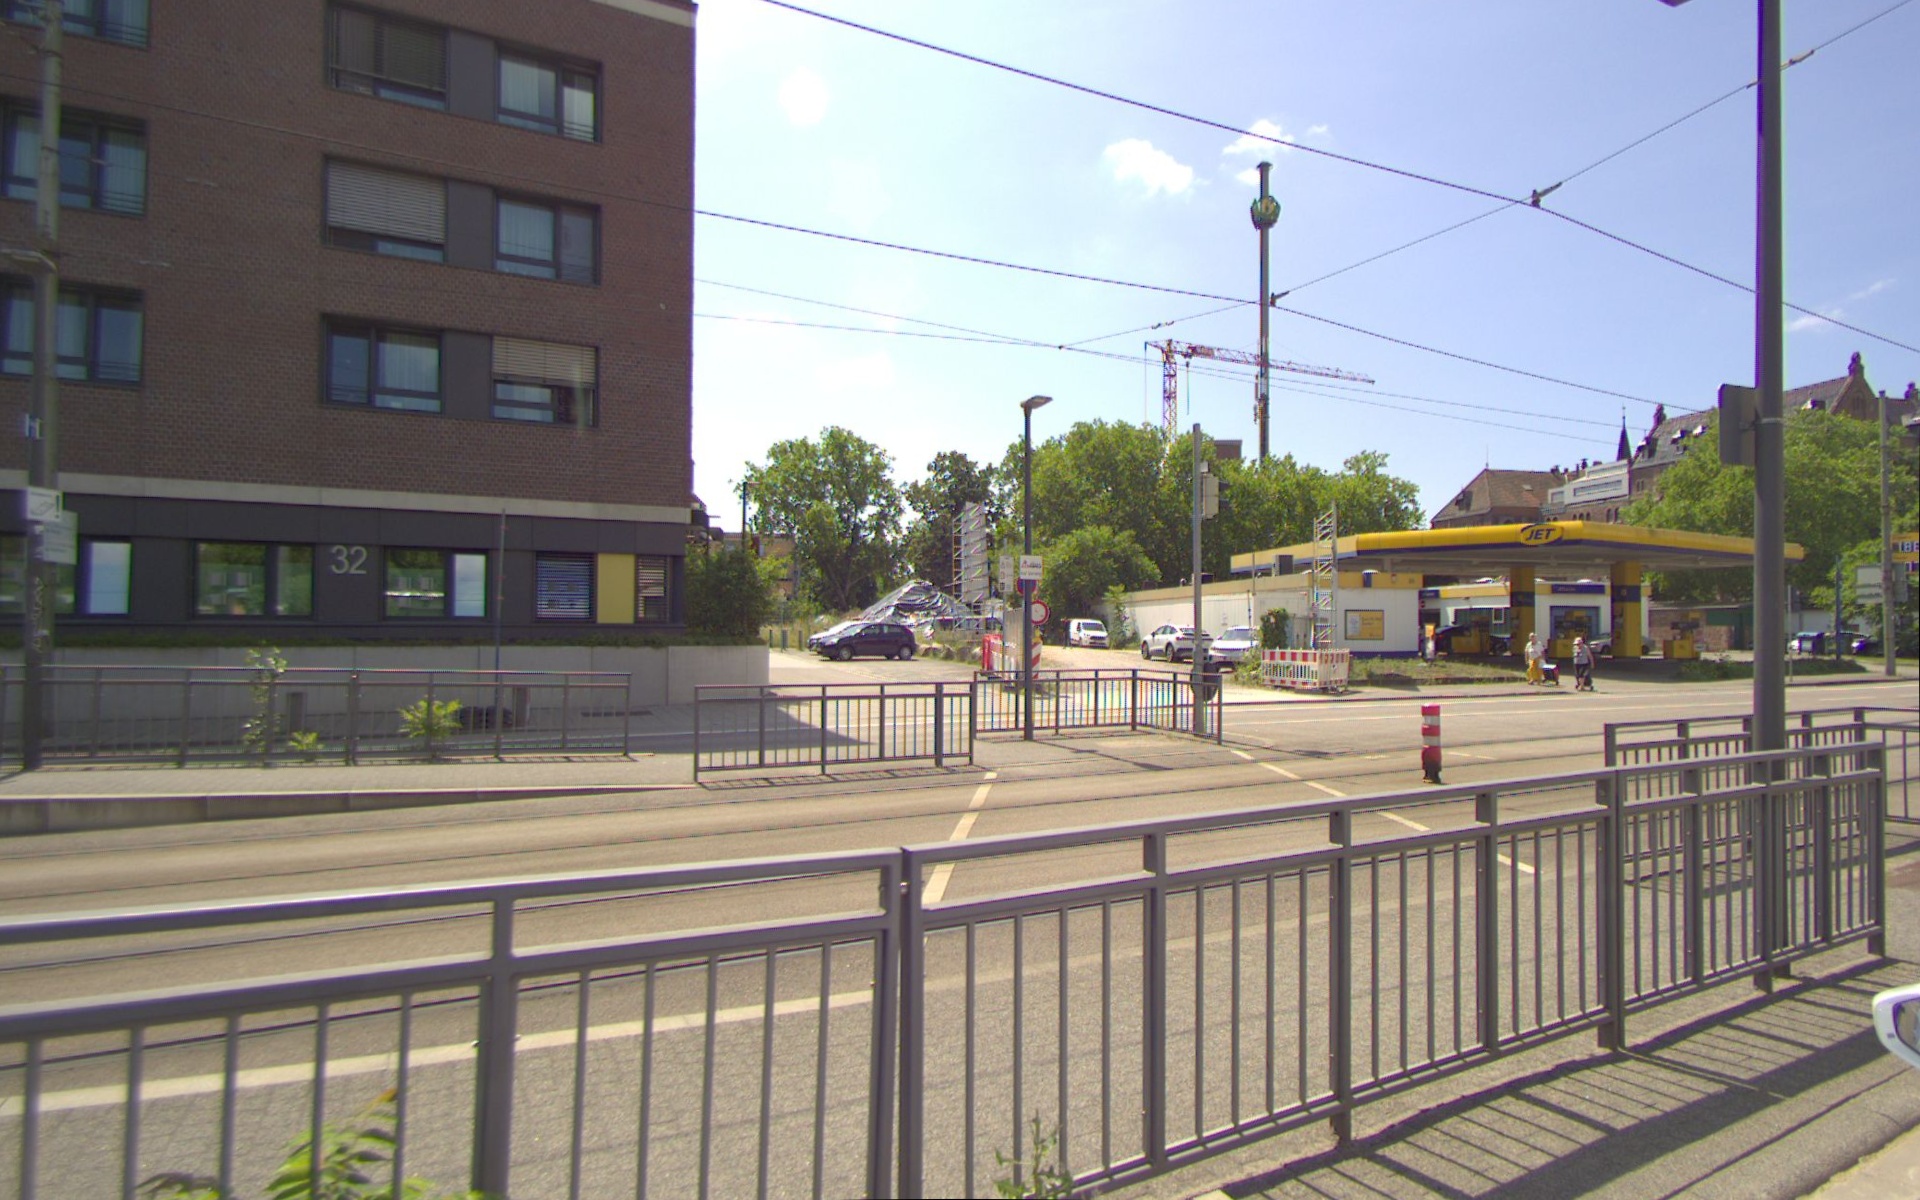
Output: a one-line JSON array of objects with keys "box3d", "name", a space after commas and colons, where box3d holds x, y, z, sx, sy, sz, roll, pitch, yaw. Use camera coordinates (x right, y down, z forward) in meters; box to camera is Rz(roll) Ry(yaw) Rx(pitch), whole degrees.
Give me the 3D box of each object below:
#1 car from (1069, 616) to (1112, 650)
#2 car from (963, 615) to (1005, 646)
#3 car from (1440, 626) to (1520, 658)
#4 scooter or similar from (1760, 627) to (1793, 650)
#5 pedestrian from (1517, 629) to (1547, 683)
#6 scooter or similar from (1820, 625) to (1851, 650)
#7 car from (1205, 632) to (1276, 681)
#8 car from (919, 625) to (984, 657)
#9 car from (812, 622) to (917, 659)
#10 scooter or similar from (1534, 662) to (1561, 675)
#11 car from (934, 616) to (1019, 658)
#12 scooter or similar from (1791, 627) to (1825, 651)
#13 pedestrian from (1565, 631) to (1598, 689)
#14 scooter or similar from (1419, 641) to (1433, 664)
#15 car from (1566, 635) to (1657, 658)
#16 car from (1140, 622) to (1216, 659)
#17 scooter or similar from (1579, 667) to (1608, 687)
[{"box3d": [8.084, 2.094, 62.621, 1.858, 2.039, 3.999, 0, -4, -5], "name": "car"}, {"box3d": [1.533, 1.932, 63.376, 2.566, 1.928, 0.707, 1, -1, -19], "name": "car"}, {"box3d": [28.834, 2.323, 55.727, 3.701, 1.725, 1.602, 0, -4, -9], "name": "car"}, {"box3d": [53.119, 2.521, 65.330, 1.044, 1.486, 1.311, 1, -1, -22], "name": "scooter or similar"}, {"box3d": [18.077, 1.758, 31.726, 0.664, 1.680, 0.551, 1, -1, -27], "name": "pedestrian"}, {"box3d": [53.801, 2.318, 61.717, 1.046, 1.486, 1.168, 2, -2, -29], "name": "scooter or similar"}, {"box3d": [9.991, 1.945, 35.591, 2.018, 1.588, 4.000, 0, -2, 21], "name": "car"}, {"box3d": [-0.376, 1.825, 44.986, 2.700, 1.398, 1.217, 1, -1, -25], "name": "car"}, {"box3d": [-3.757, 1.563, 39.563, 3.856, 1.398, 1.619, 1, -1, -25], "name": "car"}, {"box3d": [18.738, 2.190, 32.040, 0.664, 0.400, 0.471, 1, -1, -27], "name": "scooter or similar"}, {"box3d": [0.830, 1.842, 50.031, 3.919, 2.040, 2.001, 0, -1, 11], "name": "car"}, {"box3d": [53.512, 2.428, 63.384, 1.044, 1.486, 1.311, 1, -2, -22], "name": "scooter or similar"}, {"box3d": [18.521, 1.777, 29.934, 0.658, 1.693, 0.578, 1, -1, -26], "name": "pedestrian"}, {"box3d": [19.081, 2.135, 41.113, 0.323, 0.942, 0.403, 1, -1, -31], "name": "scooter or similar"}, {"box3d": [40.768, 2.893, 62.878, 4.920, 1.383, 1.838, 1, -2, -11], "name": "car"}, {"box3d": [9.262, 1.703, 43.024, 1.728, 1.482, 4.008, 0, -1, -12], "name": "car"}, {"box3d": [19.191, 2.330, 30.425, 0.622, 0.588, 0.475, 1, -1, -23], "name": "scooter or similar"}]
